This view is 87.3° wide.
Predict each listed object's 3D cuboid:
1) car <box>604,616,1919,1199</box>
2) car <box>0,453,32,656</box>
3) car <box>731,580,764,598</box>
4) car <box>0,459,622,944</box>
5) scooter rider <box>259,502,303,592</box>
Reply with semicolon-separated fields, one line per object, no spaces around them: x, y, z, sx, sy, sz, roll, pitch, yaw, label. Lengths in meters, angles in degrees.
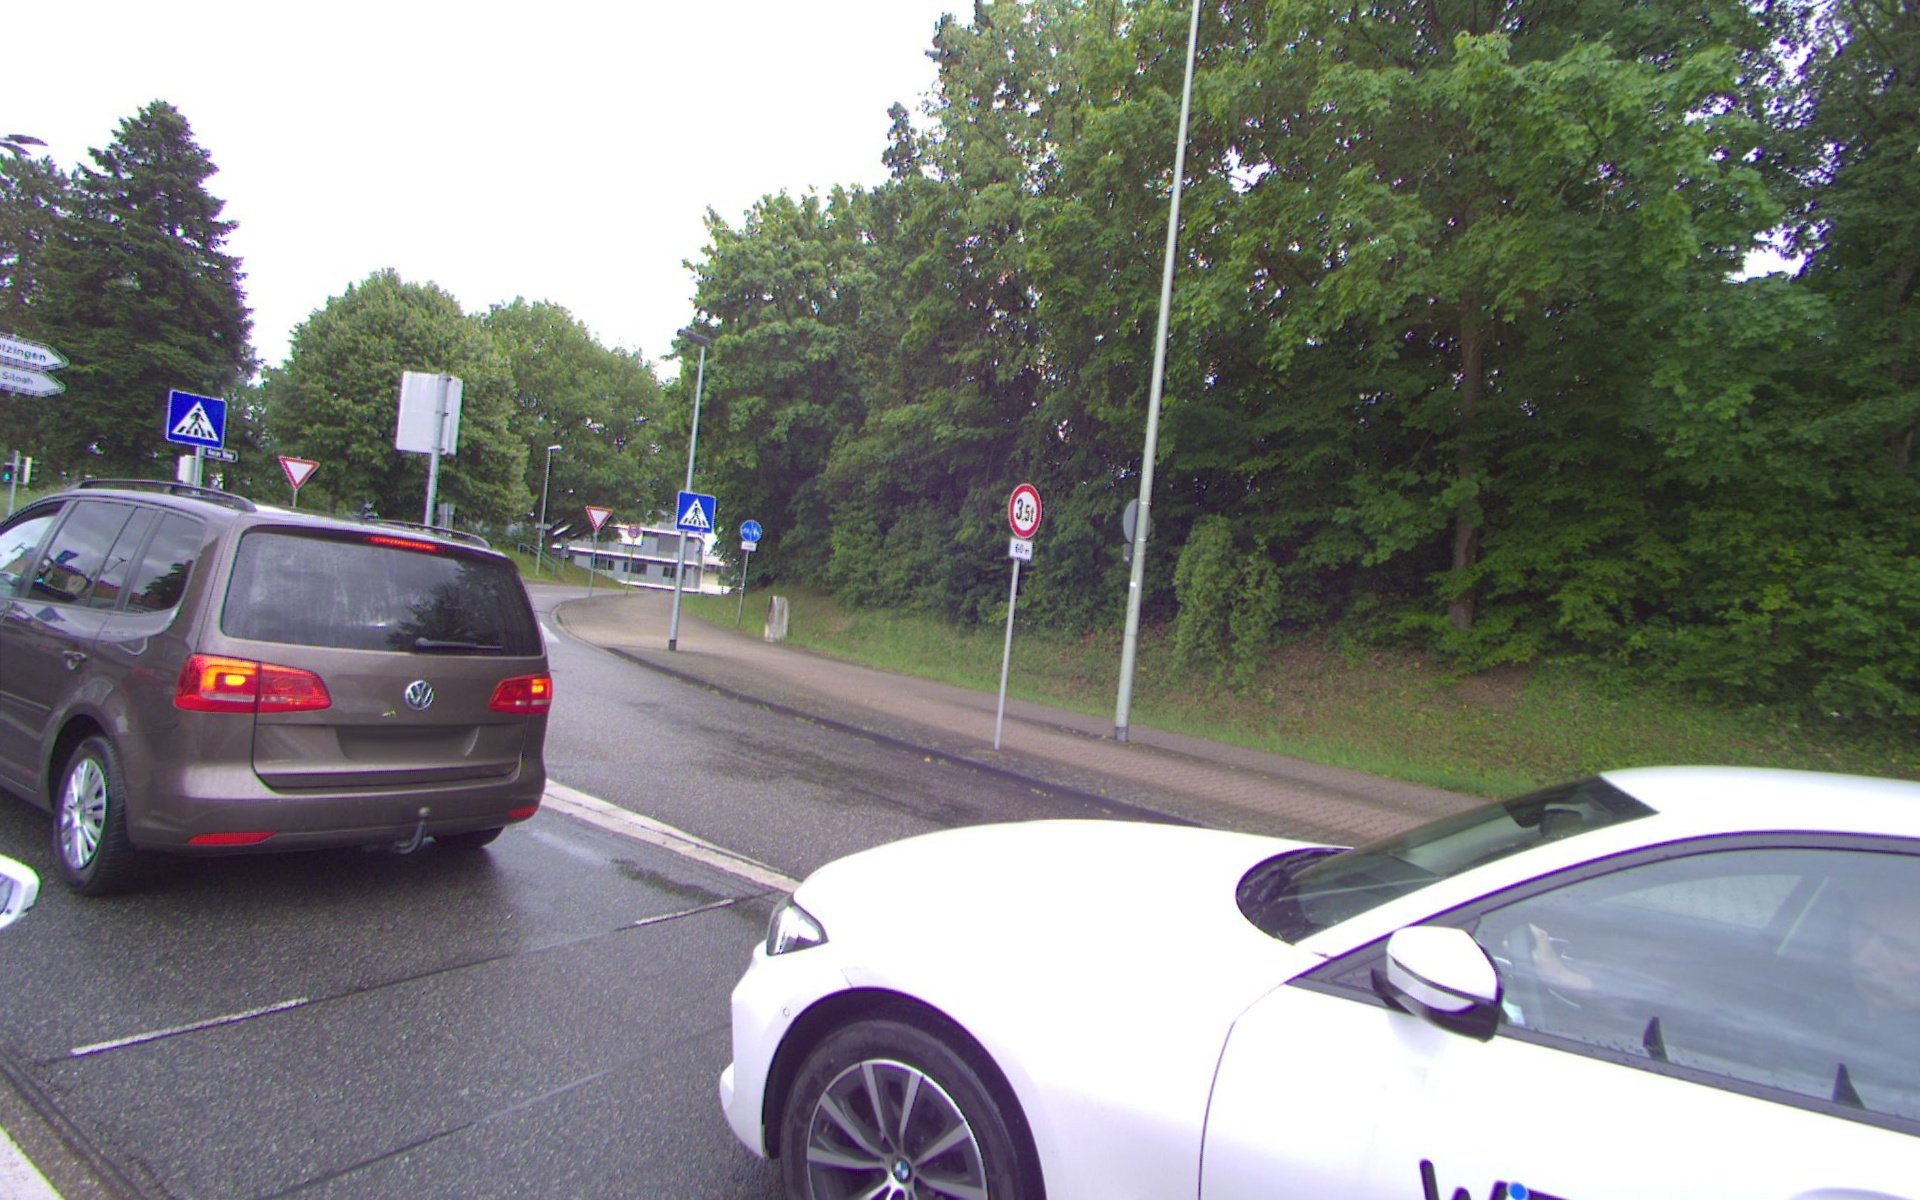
1.618;1.071;2.091;4.601;1.474;1.783;6;-1;30;car
-11.011;-0.689;9.803;3.741;1.899;1.768;7;-1;31;car
-18.157;-0.948;86.066;1.692;1.270;4.001;7;0;3;car
-3.852;0.268;5.223;3.915;1.628;1.750;6;-1;32;car
-15.728;-1.225;23.314;0.538;1.990;0.501;7;1;31;scooter rider
